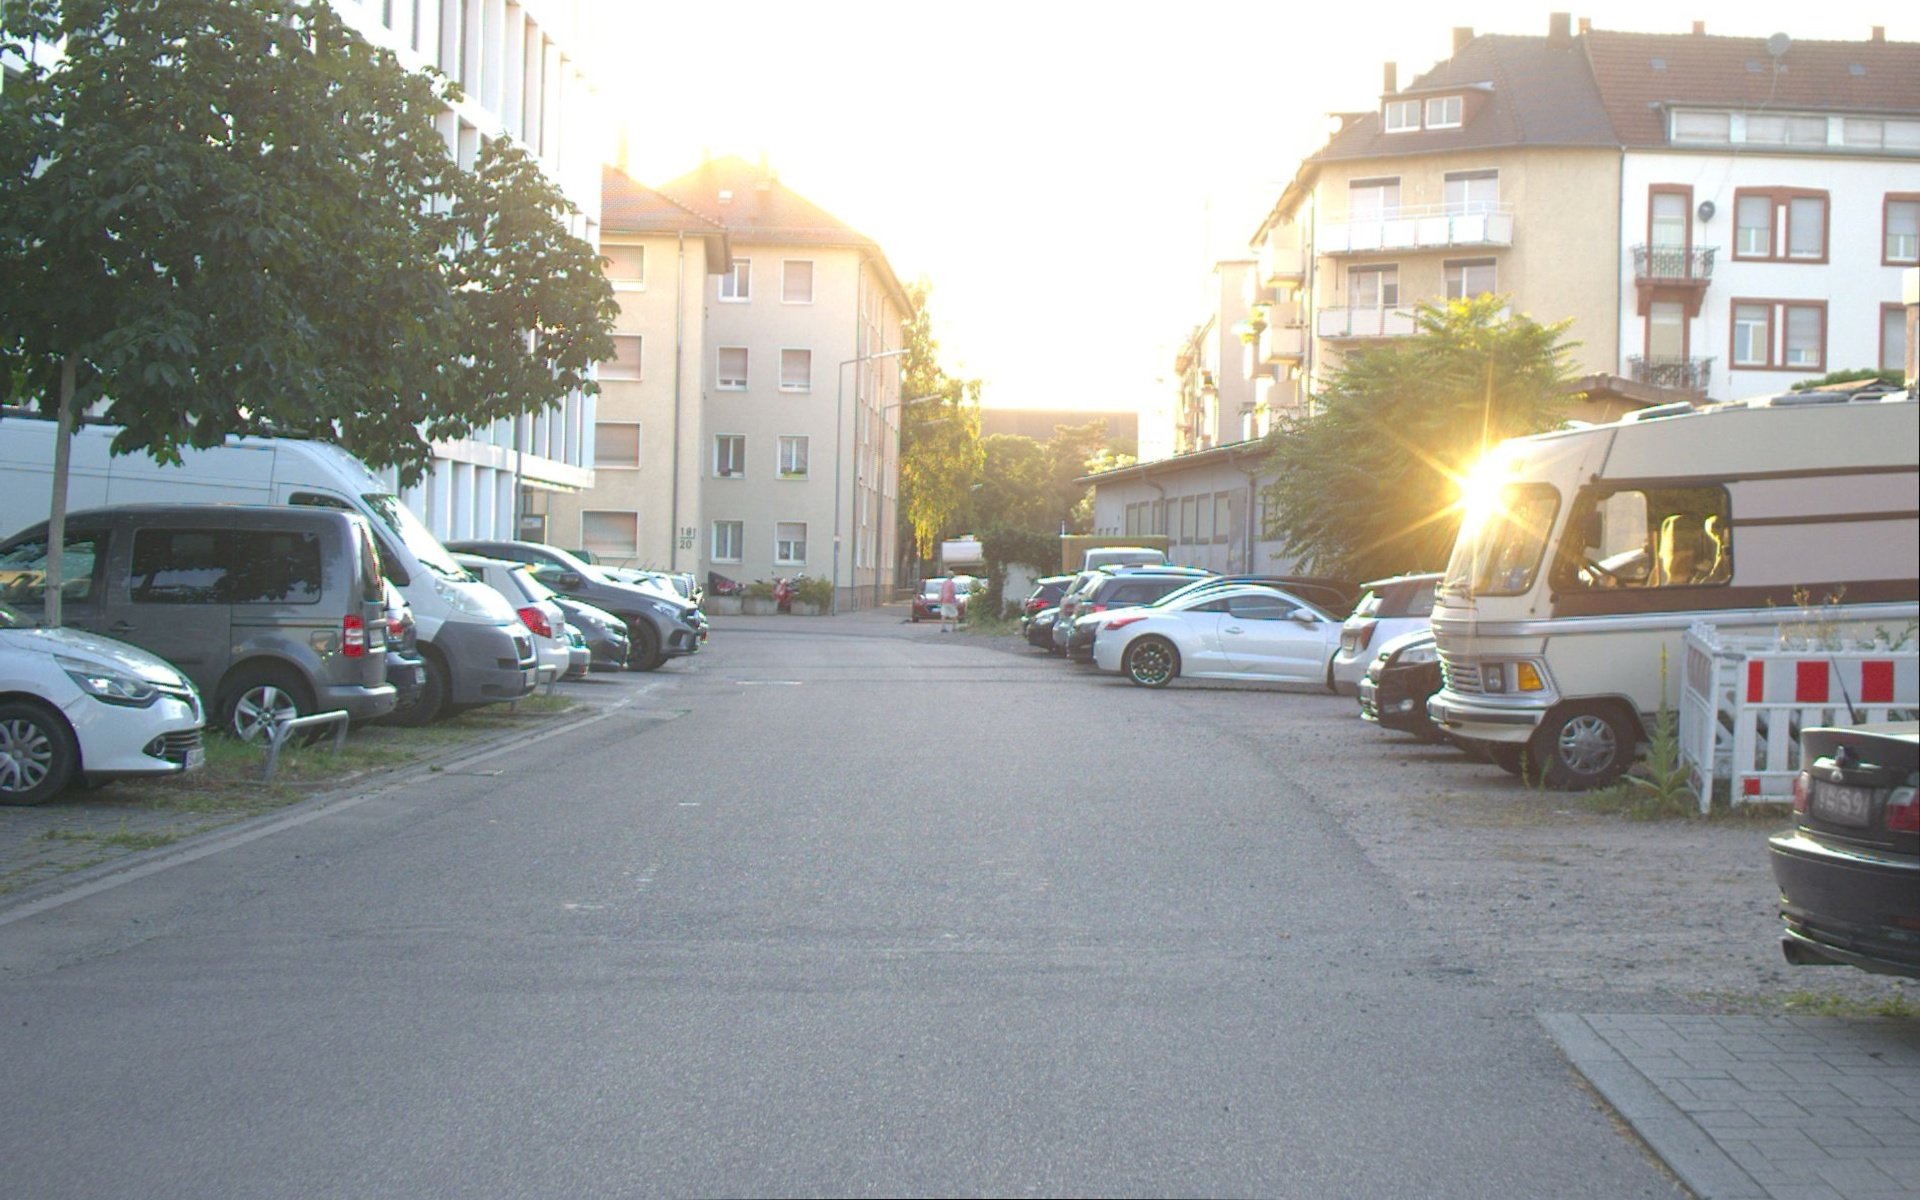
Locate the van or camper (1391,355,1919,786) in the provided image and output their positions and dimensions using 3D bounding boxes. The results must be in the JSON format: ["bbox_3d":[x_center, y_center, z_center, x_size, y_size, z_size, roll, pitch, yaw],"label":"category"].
[{"bbox_3d":[6.131,-0.194,24.214,5.779,2.854,2.487,0,0,-3],"label":"van or camper"}]

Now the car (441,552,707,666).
[{"bbox_3d":[-5.756,0.118,51.567,3.667,1.506,1.696,3,1,4],"label":"car"}]

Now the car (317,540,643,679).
[{"bbox_3d":[-5.907,0.102,42.623,3.781,1.517,1.694,3,1,-1],"label":"car"}]

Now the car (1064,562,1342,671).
[{"bbox_3d":[3.632,0.249,51.914,3.983,1.440,1.827,2,0,-1],"label":"car"}]

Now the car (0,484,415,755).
[{"bbox_3d":[-6.206,0.092,25.330,4.107,1.810,1.816,2,1,-4],"label":"car"}]

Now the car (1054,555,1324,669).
[{"bbox_3d":[3.613,0.180,54.642,3.983,1.613,1.827,2,0,-5],"label":"car"}]

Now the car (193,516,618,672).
[{"bbox_3d":[-6.074,-0.081,37.975,4.308,1.490,1.795,3,1,2],"label":"car"}]

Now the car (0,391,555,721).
[{"bbox_3d":[-6.472,-0.418,30.474,5.381,2.624,2.078,3,1,1],"label":"car"}]

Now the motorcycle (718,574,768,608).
[{"bbox_3d":[-7.008,-0.277,111.070,0.724,1.075,2.078,2,0,22],"label":"motorcycle"}]

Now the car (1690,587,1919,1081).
[{"bbox_3d":[4.585,0.640,10.350,4.314,1.329,1.896,0,0,-3],"label":"car"}]

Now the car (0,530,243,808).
[{"bbox_3d":[-6.510,0.315,20.351,4.108,1.513,1.781,3,1,0],"label":"car"}]

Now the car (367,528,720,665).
[{"bbox_3d":[-5.880,-0.067,48.864,4.619,1.700,2.004,3,1,4],"label":"car"}]

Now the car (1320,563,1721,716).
[{"bbox_3d":[5.606,0.380,34.669,3.704,1.474,1.712,0,1,-3],"label":"car"}]

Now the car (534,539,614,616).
[{"bbox_3d":[-10.569,-0.643,94.324,1.797,1.973,4.690,1,1,-2],"label":"car"}]

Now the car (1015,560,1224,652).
[{"bbox_3d":[2.965,0.104,64.463,3.759,1.530,1.891,2,1,0],"label":"car"}]

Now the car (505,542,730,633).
[{"bbox_3d":[-6.326,-0.244,63.772,3.926,1.506,1.687,3,1,1],"label":"car"}]

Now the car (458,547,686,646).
[{"bbox_3d":[-6.654,-0.072,59.197,3.654,1.506,1.687,3,1,1],"label":"car"}]

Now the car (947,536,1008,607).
[{"bbox_3d":[0.853,-1.332,160.892,2.620,3.258,7.696,0,0,2],"label":"car"}]

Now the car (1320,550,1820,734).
[{"bbox_3d":[5.316,0.355,30.218,4.003,1.558,1.712,0,1,-5],"label":"car"}]

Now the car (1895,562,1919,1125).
[{"bbox_3d":[4.465,0.624,7.929,4.055,1.402,1.896,0,1,-3],"label":"car"}]

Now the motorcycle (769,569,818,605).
[{"bbox_3d":[-5.482,-0.413,113.494,0.689,1.156,2.031,2,0,26],"label":"motorcycle"}]

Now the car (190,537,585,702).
[{"bbox_3d":[-5.820,0.178,35.259,3.708,1.490,1.708,3,1,0],"label":"car"}]

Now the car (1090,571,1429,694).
[{"bbox_3d":[3.808,0.405,44.295,4.203,1.362,1.823,2,1,2],"label":"car"}]

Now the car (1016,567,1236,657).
[{"bbox_3d":[2.965,0.209,62.021,3.759,1.439,1.845,2,0,-3],"label":"car"}]

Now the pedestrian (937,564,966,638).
[{"bbox_3d":[-0.234,0.025,95.009,0.574,2.007,0.556,2,1,21],"label":"pedestrian"}]

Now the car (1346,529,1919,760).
[{"bbox_3d":[5.263,0.332,27.242,4.241,1.735,1.967,0,0,2],"label":"car"}]

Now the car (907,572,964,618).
[{"bbox_3d":[-0.807,-0.175,115.551,1.845,1.468,4.078,1,0,0],"label":"car"}]

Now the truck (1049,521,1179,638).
[{"bbox_3d":[3.027,-0.416,68.722,2.097,2.193,5.711,1,0,-2],"label":"truck"}]

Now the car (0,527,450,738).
[{"bbox_3d":[-6.296,0.228,27.788,4.107,1.494,1.775,2,1,-4],"label":"car"}]

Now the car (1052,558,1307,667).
[{"bbox_3d":[3.613,0.195,57.161,3.983,1.604,1.939,2,0,-3],"label":"car"}]

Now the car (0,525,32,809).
[{"bbox_3d":[-7.133,0.279,17.803,4.108,1.513,1.845,3,1,0],"label":"car"}]

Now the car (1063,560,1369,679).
[{"bbox_3d":[3.646,0.284,49.483,4.202,1.498,1.890,2,0,0],"label":"car"}]
